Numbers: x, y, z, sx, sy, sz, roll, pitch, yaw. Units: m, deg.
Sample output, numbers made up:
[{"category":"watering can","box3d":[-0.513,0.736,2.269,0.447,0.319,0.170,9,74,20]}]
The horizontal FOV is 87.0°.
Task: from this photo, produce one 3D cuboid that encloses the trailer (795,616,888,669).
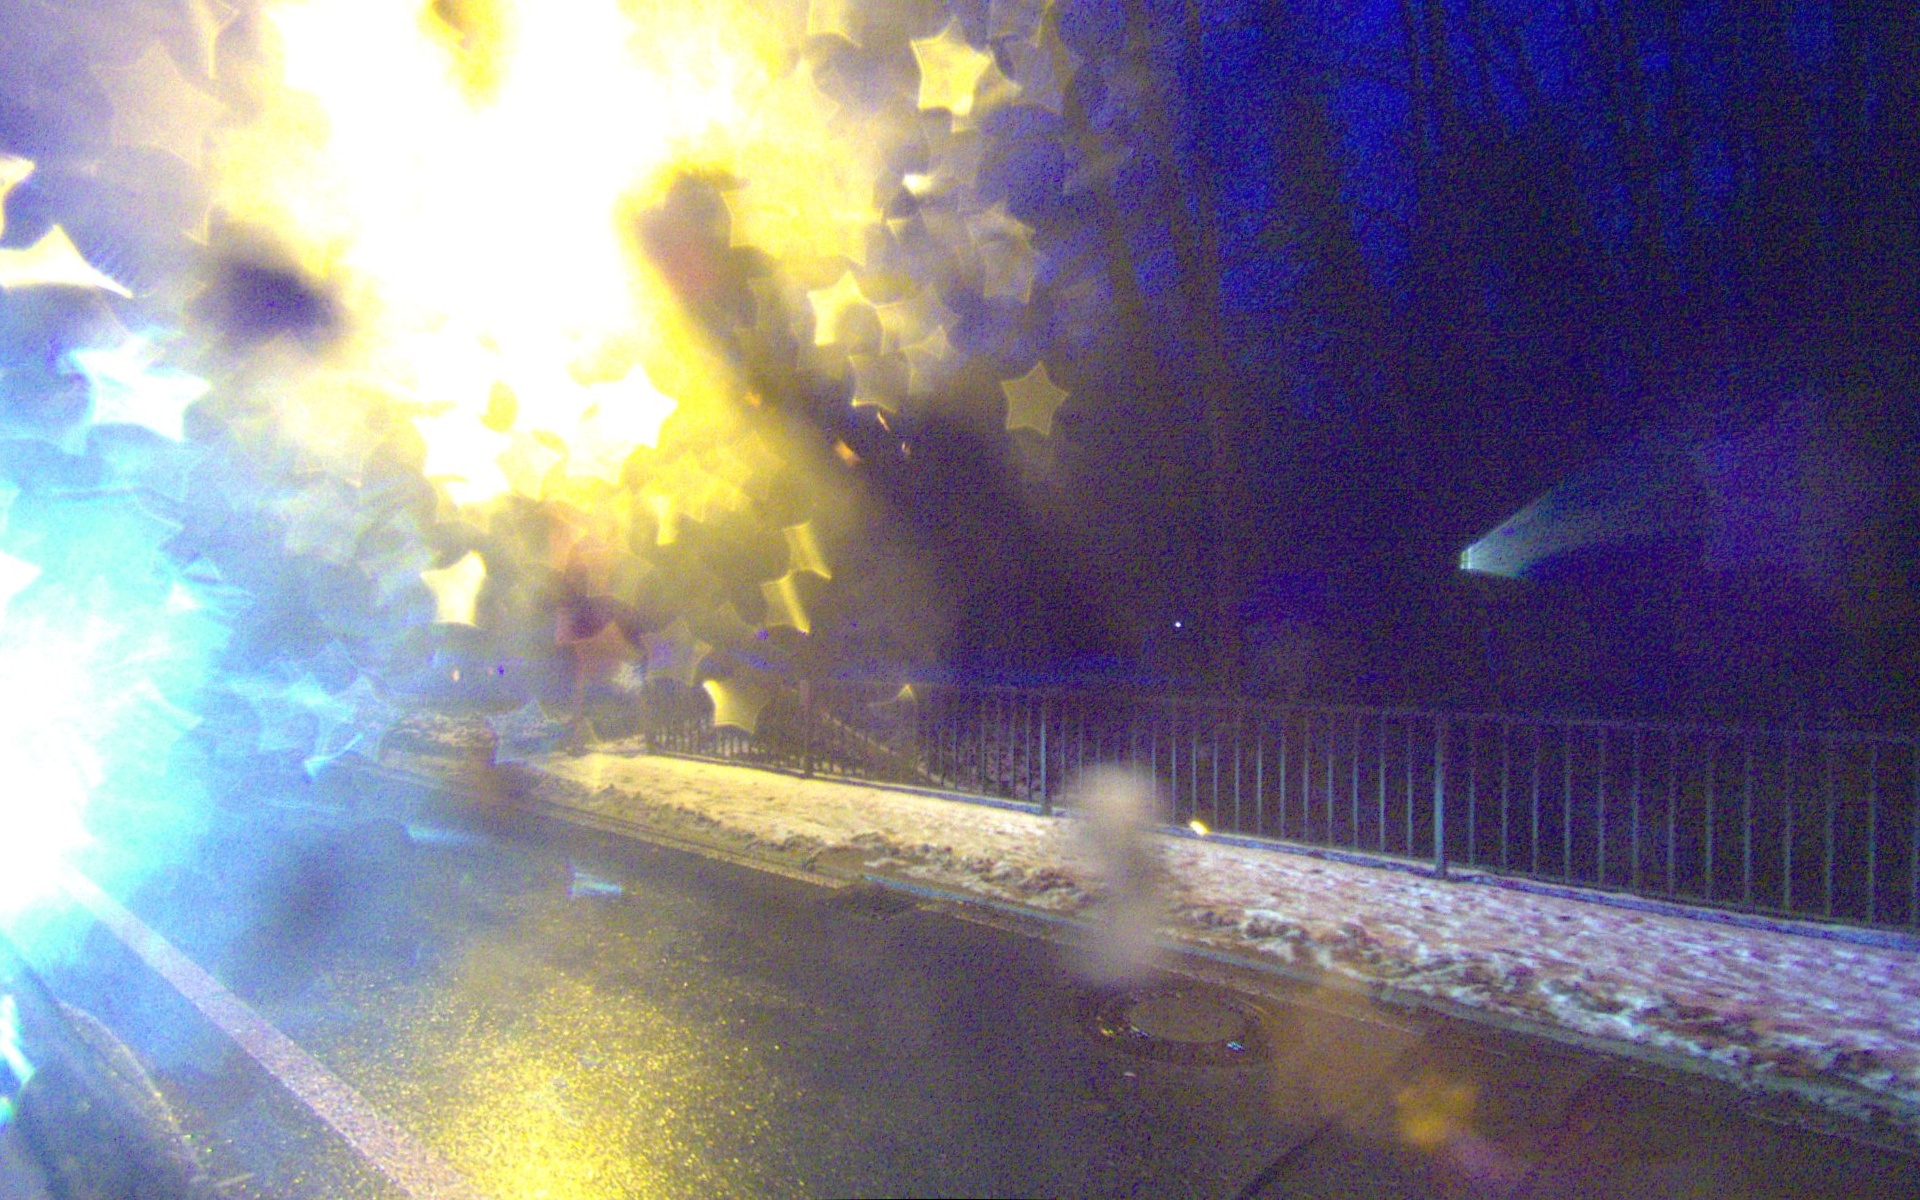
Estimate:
[{"category":"trailer","box3d":[-5.549,1.995,47.596,3.745,2.234,1.980,4,-2,-31]}]
